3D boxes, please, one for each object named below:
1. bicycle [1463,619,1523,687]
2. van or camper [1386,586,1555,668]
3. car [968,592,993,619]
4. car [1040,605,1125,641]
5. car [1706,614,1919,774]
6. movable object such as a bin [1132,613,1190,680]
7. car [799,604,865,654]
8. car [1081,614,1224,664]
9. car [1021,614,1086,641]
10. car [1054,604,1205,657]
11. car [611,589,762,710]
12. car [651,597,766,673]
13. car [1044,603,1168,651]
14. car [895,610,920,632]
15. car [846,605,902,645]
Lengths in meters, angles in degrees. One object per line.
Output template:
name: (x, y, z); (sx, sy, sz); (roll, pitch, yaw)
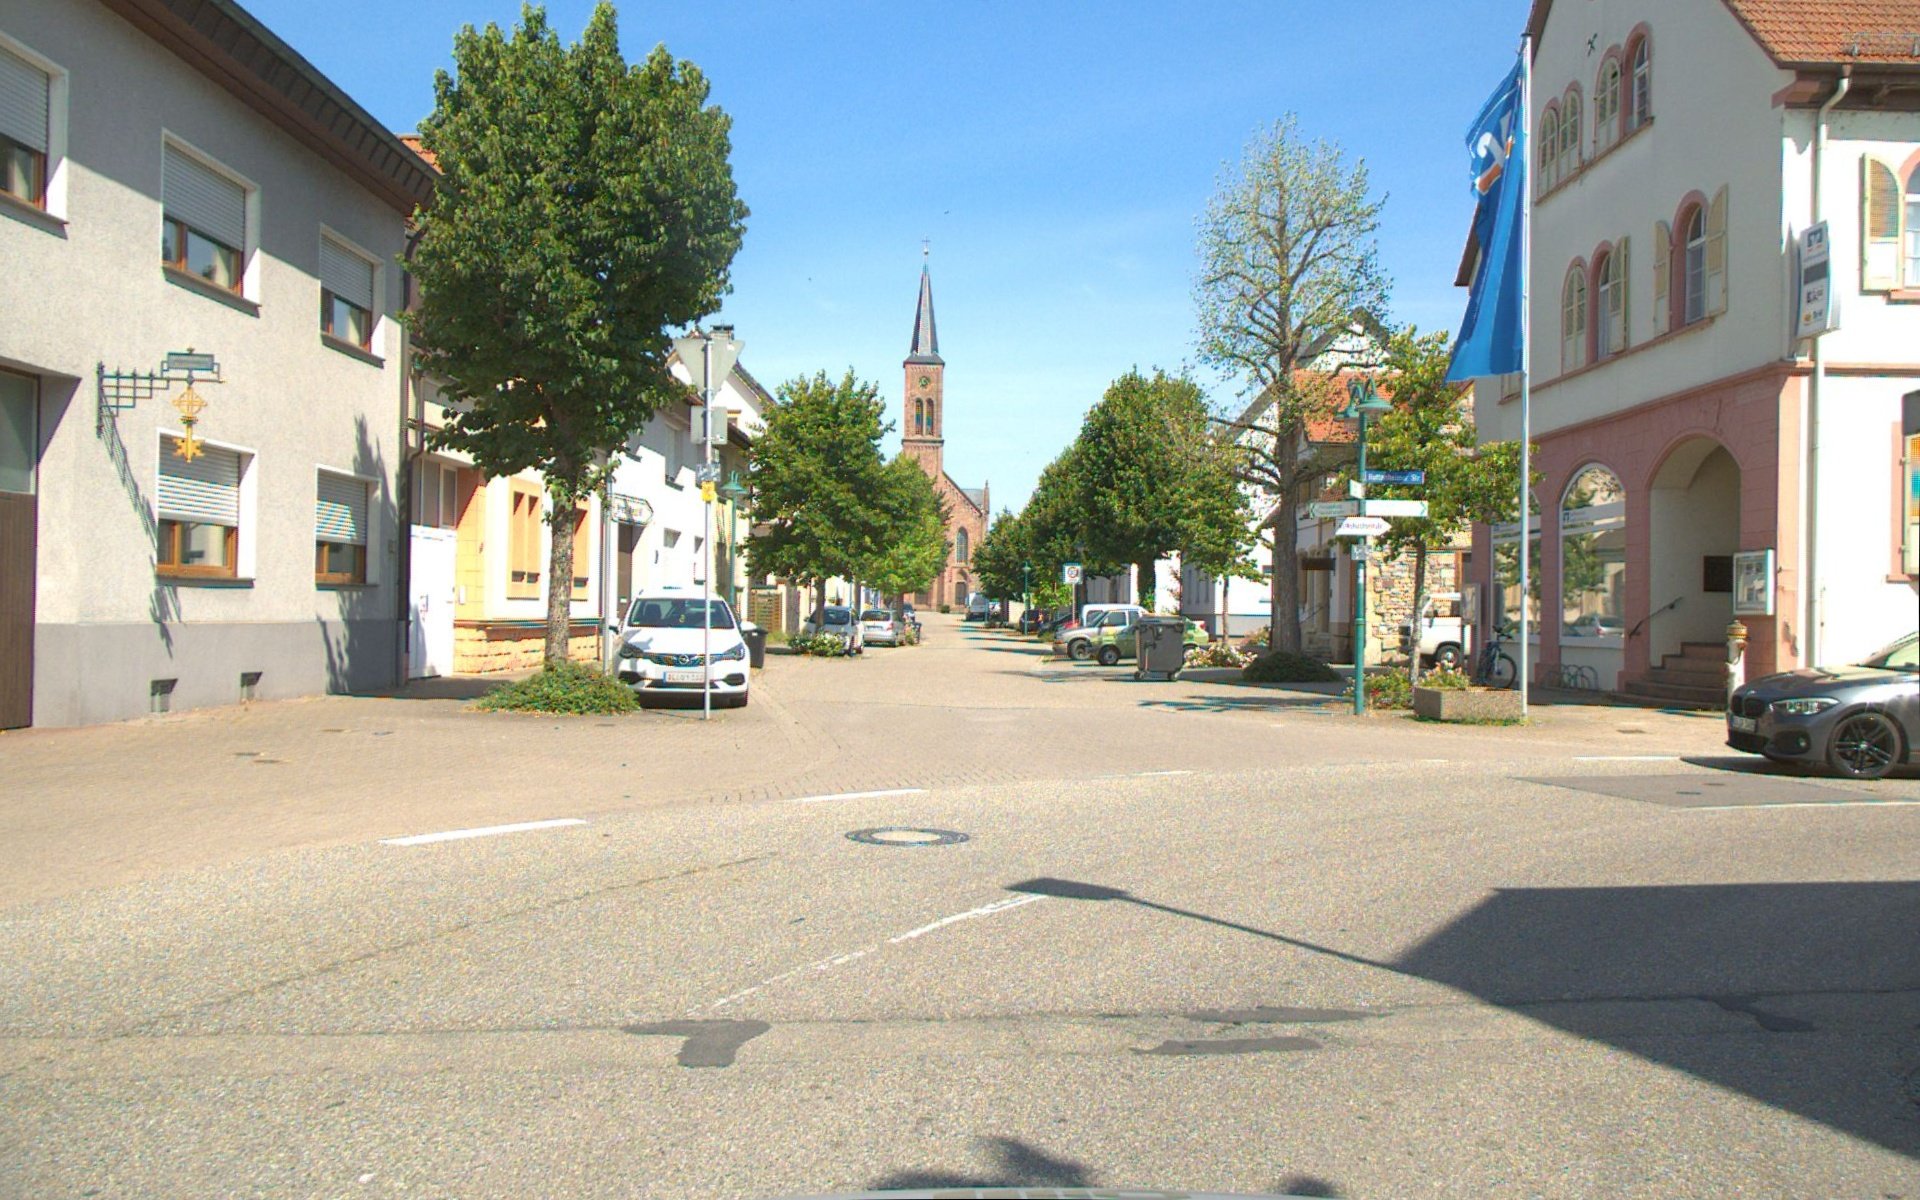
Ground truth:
bicycle: (9.517, 0.927, 29.584); (0.581, 1.155, 1.749); (0, 0, 2)
van or camper: (13.142, 0.675, 42.754); (3.902, 2.049, 2.002); (0, 0, 8)
car: (1.894, 0.556, 152.969); (2.199, 2.318, 4.502); (2, -1, 0)
car: (5.867, 1.100, 79.631); (3.906, 1.668, 2.000); (0, 0, -1)
car: (9.499, 0.851, 15.571); (4.166, 1.400, 1.742); (0, 0, 1)
movable object such as a bin: (4.189, 0.958, 34.546); (1.163, 1.361, 0.789); (0, 0, 3)
car: (-4.219, 0.936, 55.040); (1.953, 1.601, 3.998); (0, 0, -2)
car: (5.478, 1.107, 47.450); (3.844, 1.368, 2.000); (0, 0, -1)
car: (5.833, 1.725, 103.566); (3.907, 1.646, 1.999); (0, 0, -2)
car: (5.475, 0.986, 53.892); (4.705, 1.652, 2.000); (0, 0, -1)
car: (-3.804, 0.608, 22.560); (1.816, 1.466, 4.500); (0, 0, -12)
car: (-5.166, 0.678, 34.594); (1.945, 1.466, 5.207); (0, 0, -4)
car: (4.965, 0.923, 56.715); (4.065, 1.596, 2.000); (0, 0, -1)
car: (-4.360, 1.728, 137.009); (1.954, 1.847, 3.997); (0, 0, -4)
car: (-3.482, 0.981, 66.205); (1.956, 1.489, 3.994); (1, 0, -7)
